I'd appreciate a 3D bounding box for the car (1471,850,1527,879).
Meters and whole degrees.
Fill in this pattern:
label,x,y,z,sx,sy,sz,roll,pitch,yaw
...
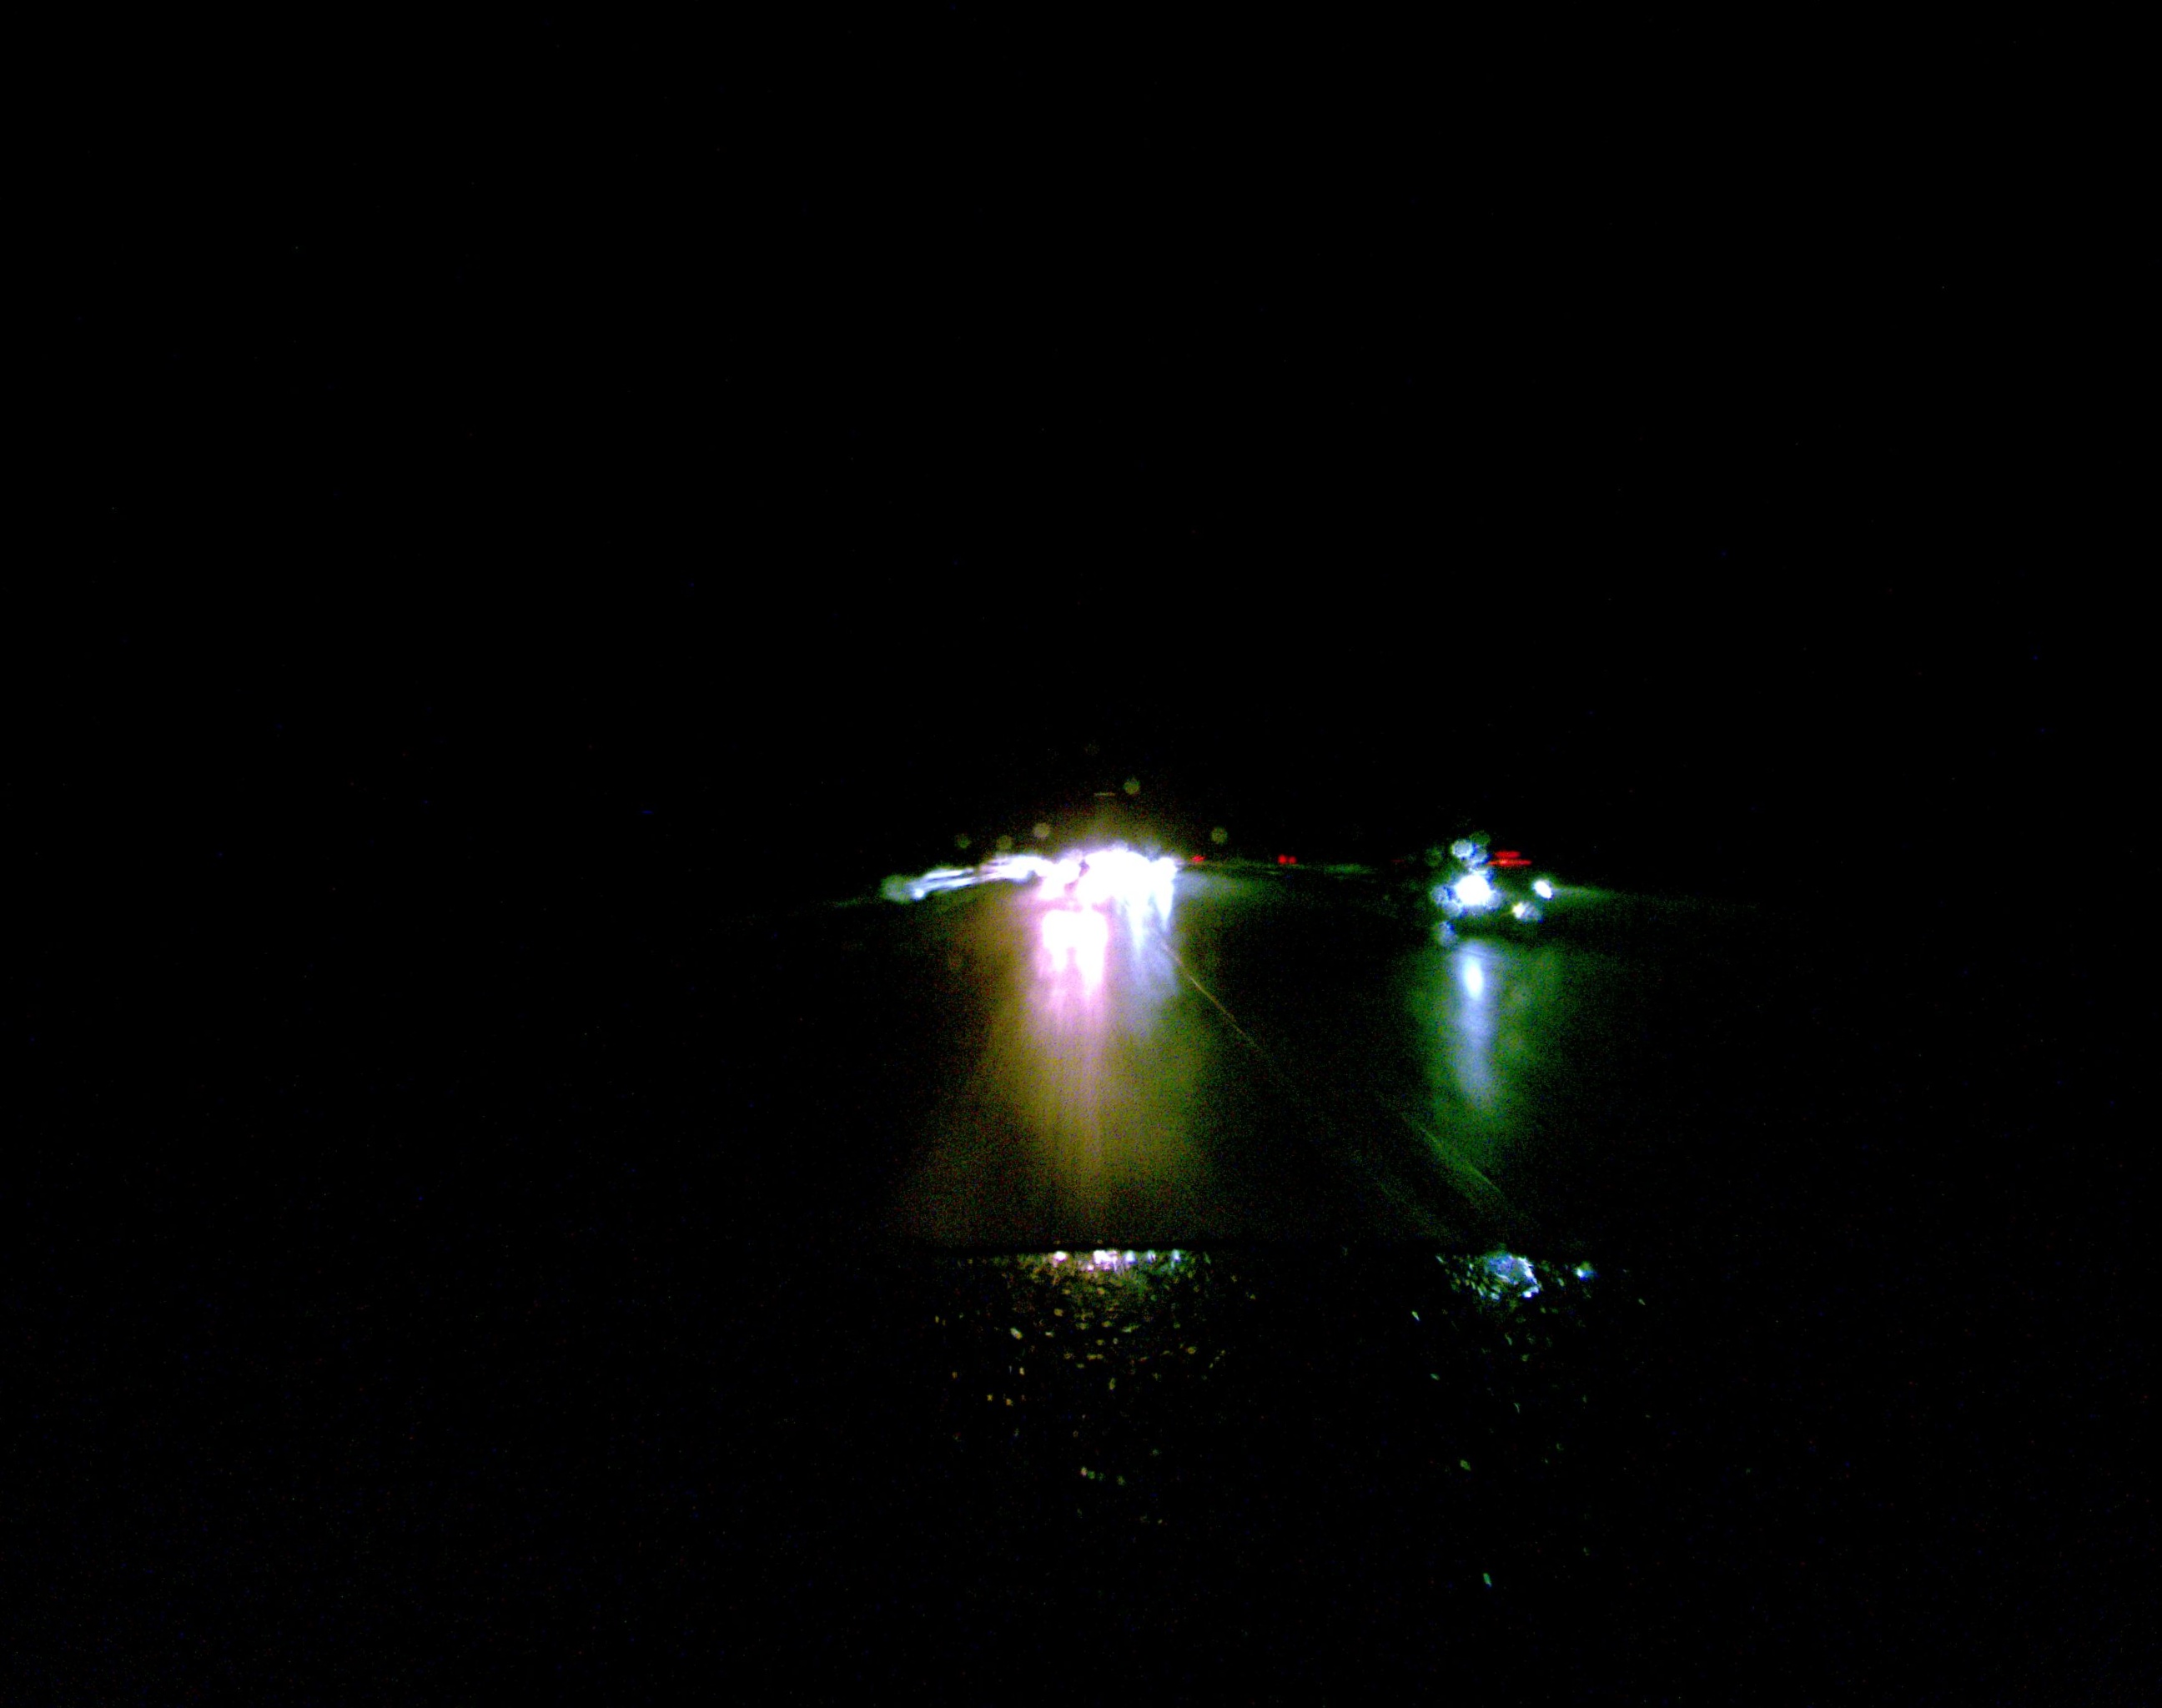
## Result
label,x,y,z,sx,sy,sz,roll,pitch,yaw
car,28.022,0.685,51.067,1.635,1.794,3.911,-3,0,2

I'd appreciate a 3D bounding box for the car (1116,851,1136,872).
label,x,y,z,sx,sy,sz,roll,pitch,yaw
car,4.144,0.664,69.958,1.611,1.775,3.910,-3,0,1

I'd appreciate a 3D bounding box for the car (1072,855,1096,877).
label,x,y,z,sx,sy,sz,roll,pitch,yaw
car,0.250,0.946,61.633,1.792,1.681,4.000,-3,0,1

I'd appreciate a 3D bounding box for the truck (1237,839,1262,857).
label,x,y,z,sx,sy,sz,roll,pitch,yaw
truck,29.070,-1.087,131.440,2.907,2.830,7.745,-2,0,4

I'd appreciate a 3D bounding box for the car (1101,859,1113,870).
label,x,y,z,sx,sy,sz,roll,pitch,yaw
car,3.875,1.525,113.705,1.755,1.563,4.000,-3,0,1

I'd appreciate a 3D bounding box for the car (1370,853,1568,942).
label,x,y,z,sx,sy,sz,roll,pitch,yaw
car,7.324,0.737,14.876,1.661,1.422,4.246,-2,0,0

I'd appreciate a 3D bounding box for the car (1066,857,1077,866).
label,x,y,z,sx,sy,sz,roll,pitch,yaw
car,-1.789,1.382,143.667,1.755,1.563,4.000,-3,0,1

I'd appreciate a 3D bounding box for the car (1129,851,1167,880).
label,x,y,z,sx,sy,sz,roll,pitch,yaw
car,4.183,0.675,48.090,1.960,1.655,4.916,-3,0,1

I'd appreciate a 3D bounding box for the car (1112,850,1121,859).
label,x,y,z,sx,sy,sz,roll,pitch,yaw
car,8.022,0.106,171.694,1.800,1.728,4.000,-3,0,1

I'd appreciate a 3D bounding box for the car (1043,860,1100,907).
label,x,y,z,sx,sy,sz,roll,pitch,yaw
car,-0.262,0.972,26.648,1.774,1.449,4.195,-2,0,1

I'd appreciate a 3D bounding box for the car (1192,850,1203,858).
label,x,y,z,sx,sy,sz,roll,pitch,yaw
car,24.864,-0.085,162.024,1.617,1.663,4.658,-3,0,0

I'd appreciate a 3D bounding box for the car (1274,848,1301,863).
label,x,y,z,sx,sy,sz,roll,pitch,yaw
car,24.775,0.169,91.312,1.998,1.663,4.346,-3,0,0
